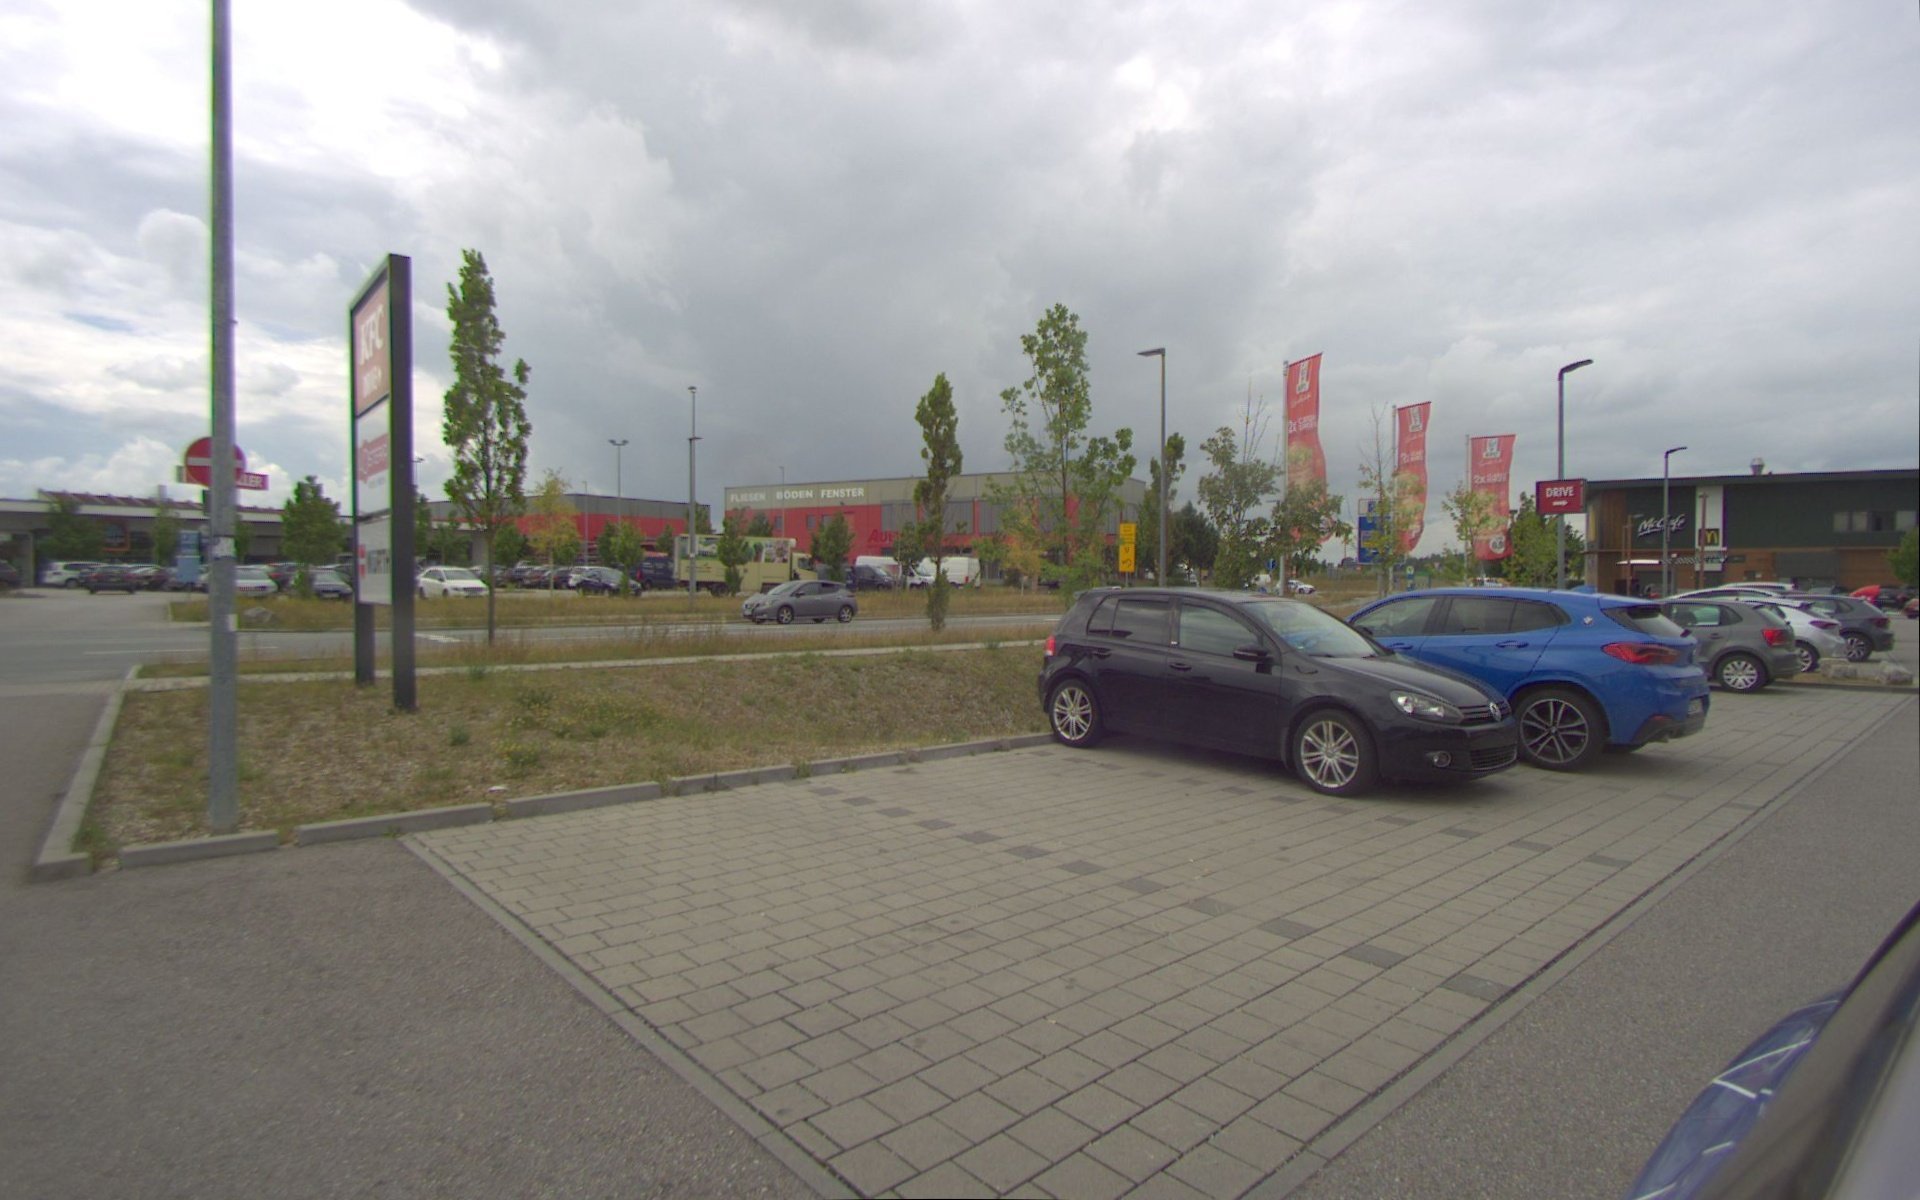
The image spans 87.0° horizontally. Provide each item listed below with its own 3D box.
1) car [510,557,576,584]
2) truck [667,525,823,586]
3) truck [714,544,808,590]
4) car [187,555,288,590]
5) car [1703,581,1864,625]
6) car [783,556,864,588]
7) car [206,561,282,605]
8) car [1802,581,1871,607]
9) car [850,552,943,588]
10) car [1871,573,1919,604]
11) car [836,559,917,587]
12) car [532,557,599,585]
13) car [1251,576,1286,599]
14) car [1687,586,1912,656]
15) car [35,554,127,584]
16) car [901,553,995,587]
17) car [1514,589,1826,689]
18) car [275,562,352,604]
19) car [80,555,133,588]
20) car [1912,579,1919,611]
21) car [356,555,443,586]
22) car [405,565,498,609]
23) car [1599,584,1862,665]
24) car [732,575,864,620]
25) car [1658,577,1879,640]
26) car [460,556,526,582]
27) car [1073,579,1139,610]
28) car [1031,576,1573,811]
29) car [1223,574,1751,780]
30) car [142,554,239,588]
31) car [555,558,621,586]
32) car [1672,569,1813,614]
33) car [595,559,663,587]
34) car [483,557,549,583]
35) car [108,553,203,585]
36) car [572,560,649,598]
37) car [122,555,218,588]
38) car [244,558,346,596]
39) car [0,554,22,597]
[{"bbox_3d":[-29.186,-2.100,70.921,1.982,1.793,3.961,2,3,28],"label":"car"},{"bbox_3d":[-12.262,-2.511,57.820,8.255,3.235,3.037,0,2,-22],"label":"truck"},{"bbox_3d":[-17.284,-2.911,87.646,8.185,3.789,2.630,3,2,30],"label":"truck"},{"bbox_3d":[-39.902,-1.516,55.942,1.986,1.860,4.138,3,2,33],"label":"car"},{"bbox_3d":[28.175,0.111,34.794,4.039,1.430,1.867,-1,0,33],"label":"car"},{"bbox_3d":[-8.492,-1.707,62.818,5.039,1.908,2.051,1,1,36],"label":"car"},{"bbox_3d":[-28.560,-0.714,40.335,4.042,1.558,1.744,4,3,43],"label":"car"},{"bbox_3d":[56.042,-0.394,64.737,3.823,1.604,1.754,0,2,-22],"label":"car"},{"bbox_3d":[-4.377,-2.069,69.177,6.010,2.241,2.390,3,2,31],"label":"car"},{"bbox_3d":[59.201,-0.699,63.237,3.917,1.771,2.004,1,2,-26],"label":"car"},{"bbox_3d":[-5.476,-1.768,66.327,5.029,1.659,2.056,3,2,31],"label":"car"},{"bbox_3d":[-27.148,-2.017,69.784,1.982,1.793,3.962,2,3,28],"label":"car"},{"bbox_3d":[25.036,-1.025,82.027,1.982,1.726,3.961,2,3,29],"label":"car"},{"bbox_3d":[18.925,0.451,22.956,3.792,1.430,1.713,-1,0,41],"label":"car"},{"bbox_3d":[-56.788,-1.997,65.456,1.986,1.860,4.138,3,2,33],"label":"car"},{"bbox_3d":[-0.859,-2.177,72.706,6.447,2.295,2.323,3,2,28],"label":"car"},{"bbox_3d":[11.628,0.567,16.763,1.699,1.446,3.990,-1,0,-44],"label":"car"},{"bbox_3d":[-26.626,-0.727,41.630,4.042,1.558,1.744,4,3,43],"label":"car"},{"bbox_3d":[-42.984,-1.442,51.020,1.965,1.558,4.156,-1,3,-40],"label":"car"},{"bbox_3d":[45.454,-0.206,45.874,3.915,1.482,1.691,0,0,-18],"label":"car"},{"bbox_3d":[-34.425,-1.848,62.259,1.985,1.793,4.273,3,3,31],"label":"car"},{"bbox_3d":[-23.006,-0.634,45.743,4.295,1.793,1.975,3,3,36],"label":"car"},{"bbox_3d":[15.087,0.442,19.935,3.927,1.430,1.810,-1,0,45],"label":"car"},{"bbox_3d":[-5.624,-0.080,35.503,4.371,1.510,1.617,1,0,-40],"label":"car"},{"bbox_3d":[21.714,0.220,27.390,4.523,1.560,1.899,-1,0,39],"label":"car"},{"bbox_3d":[-34.001,-2.263,73.780,1.985,1.793,3.956,3,3,31],"label":"car"},{"bbox_3d":[7.342,-0.268,50.686,1.742,1.510,4.081,1,0,33],"label":"car"},{"bbox_3d":[2.632,0.564,8.605,1.744,1.478,4.071,0,1,-39],"label":"car"},{"bbox_3d":[4.882,0.542,9.877,1.832,1.564,4.210,-1,1,-40],"label":"car"},{"bbox_3d":[-45.036,-1.682,59.336,1.986,1.860,4.138,3,2,33],"label":"car"},{"bbox_3d":[-25.131,-1.905,68.478,1.980,1.793,3.965,2,3,26],"label":"car"},{"bbox_3d":[31.885,-0.330,41.426,4.339,1.734,1.969,-1,0,33],"label":"car"},{"bbox_3d":[-21.883,-1.816,67.098,1.981,1.793,4.104,2,3,27],"label":"car"},{"bbox_3d":[-31.613,-2.140,72.161,1.985,1.793,3.956,3,3,31],"label":"car"},{"bbox_3d":[-49.085,-1.890,61.833,1.986,1.860,4.138,3,2,33],"label":"car"},{"bbox_3d":[-17.612,-1.086,50.909,4.307,1.793,1.901,3,3,43],"label":"car"},{"bbox_3d":[-47.234,-1.704,60.577,1.986,1.860,4.138,3,2,33],"label":"car"},{"bbox_3d":[-35.207,-1.233,53.671,1.986,1.860,4.138,3,2,33],"label":"car"},{"bbox_3d":[-43.594,-1.075,43.735,1.986,1.860,4.138,3,2,33],"label":"car"}]
